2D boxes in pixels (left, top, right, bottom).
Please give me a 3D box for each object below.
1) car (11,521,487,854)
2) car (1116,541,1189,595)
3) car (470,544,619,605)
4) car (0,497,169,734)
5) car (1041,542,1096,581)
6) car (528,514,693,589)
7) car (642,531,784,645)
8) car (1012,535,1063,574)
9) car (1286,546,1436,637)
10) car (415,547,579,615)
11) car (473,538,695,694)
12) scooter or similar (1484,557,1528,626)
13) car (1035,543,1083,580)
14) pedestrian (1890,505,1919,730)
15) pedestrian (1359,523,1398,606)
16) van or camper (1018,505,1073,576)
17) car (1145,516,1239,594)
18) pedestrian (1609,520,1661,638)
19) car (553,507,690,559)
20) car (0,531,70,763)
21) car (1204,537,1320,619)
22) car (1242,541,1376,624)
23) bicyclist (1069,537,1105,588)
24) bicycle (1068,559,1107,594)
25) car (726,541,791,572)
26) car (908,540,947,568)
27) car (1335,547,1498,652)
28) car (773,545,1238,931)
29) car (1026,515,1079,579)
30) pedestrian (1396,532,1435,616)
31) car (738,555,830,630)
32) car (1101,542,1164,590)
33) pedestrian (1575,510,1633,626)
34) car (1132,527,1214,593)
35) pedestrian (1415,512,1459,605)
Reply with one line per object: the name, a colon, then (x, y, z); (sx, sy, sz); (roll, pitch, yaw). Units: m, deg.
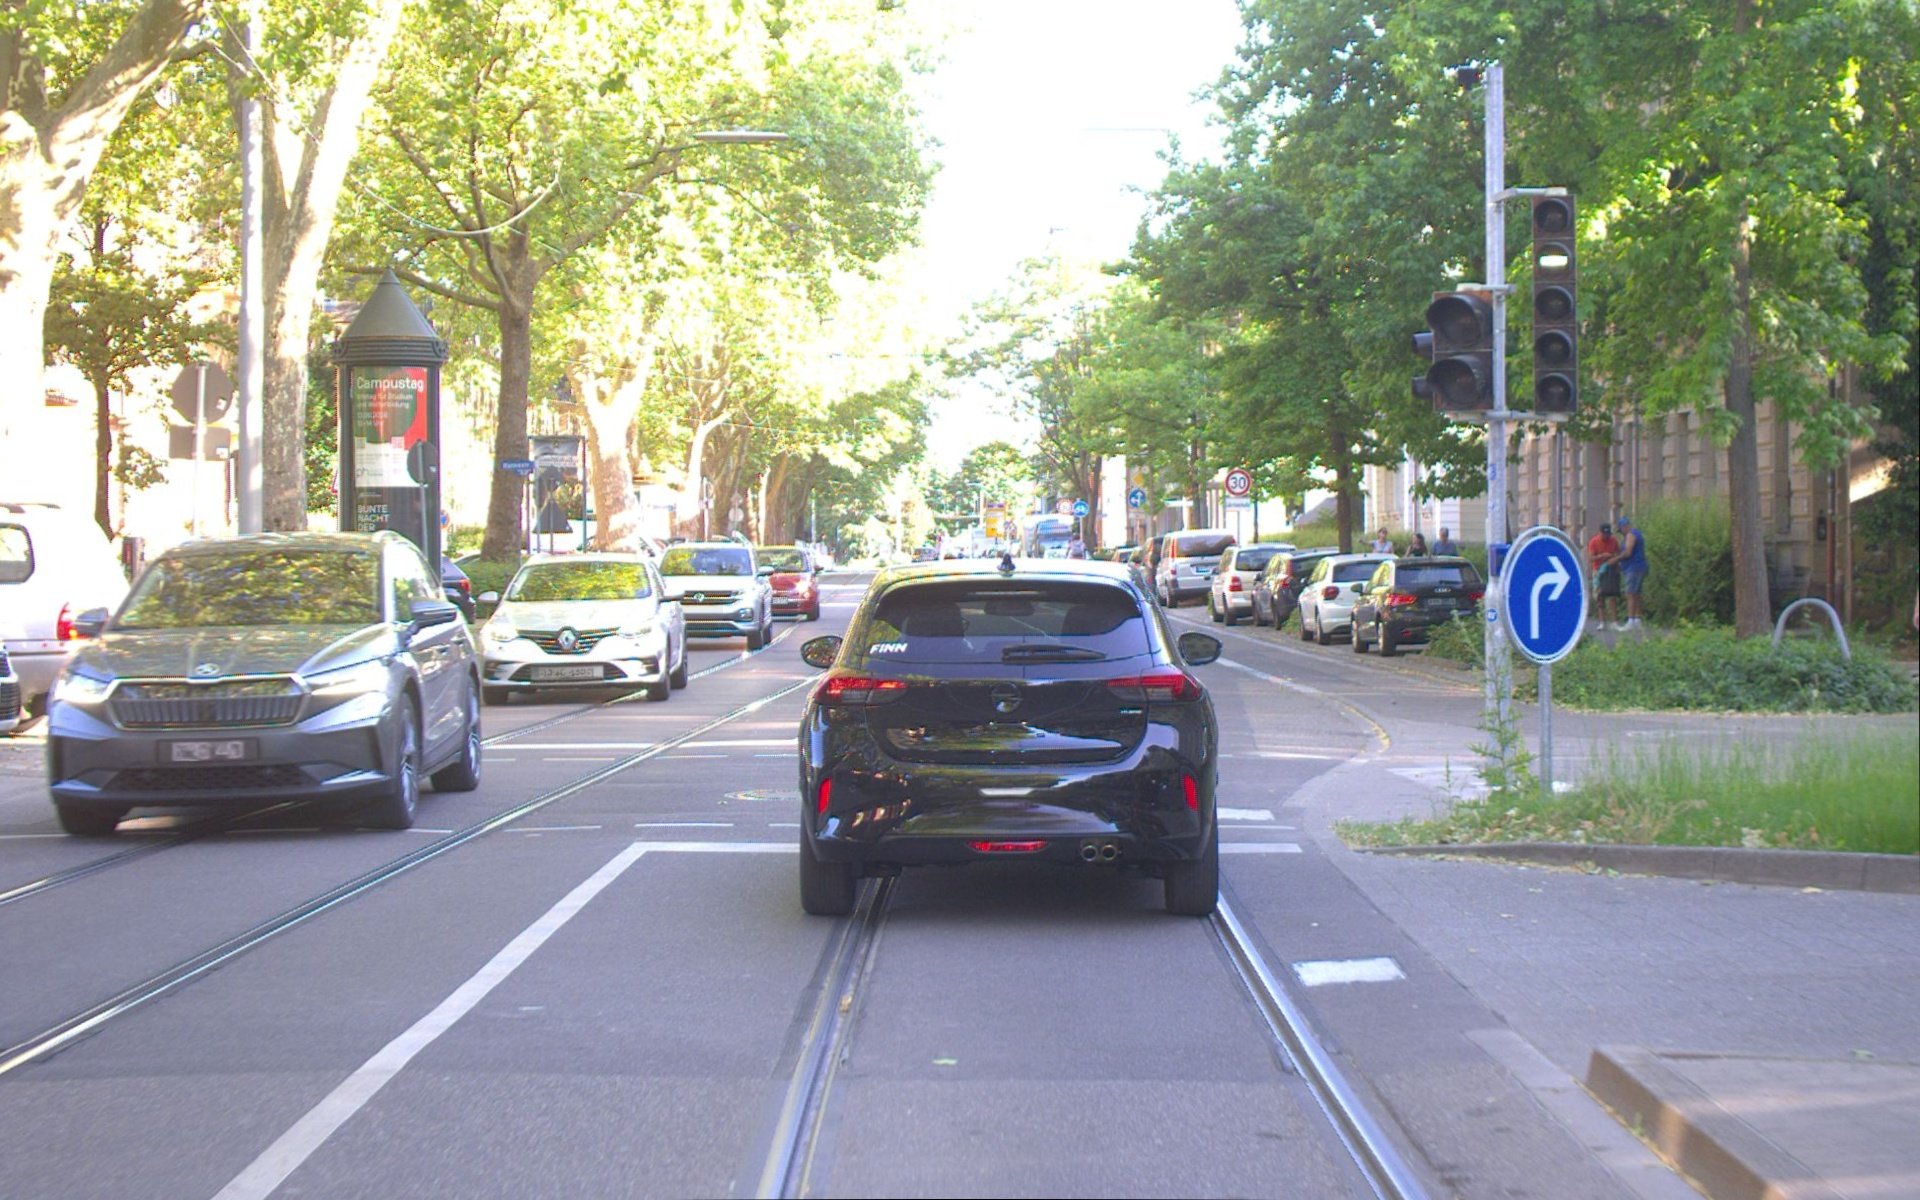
car: (-3.862, 0.413, 19.412); (1.908, 1.632, 4.321); (-1, 1, -2)
car: (5.675, -0.962, 101.823); (1.712, 1.509, 4.037); (-2, 1, -2)
car: (-10.257, -0.638, 84.985); (3.420, 1.460, 1.759); (1, 1, 1)
car: (-8.842, 0.086, 27.586); (4.570, 1.828, 1.939); (1, 1, -2)
car: (4.278, -1.519, 136.391); (1.884, 1.429, 4.530); (-3, 1, -1)
car: (-10.889, -1.509, 107.353); (5.032, 2.251, 2.086); (1, 1, -4)
car: (-3.620, -0.195, 50.903); (1.815, 1.563, 4.116); (-1, 1, -1)
car: (3.754, -2.224, 167.649); (2.254, 1.834, 5.531); (-1, 1, -1)
car: (6.599, -0.161, 56.993); (1.884, 1.363, 4.107); (-3, 1, -1)
car: (-10.413, -0.430, 77.497); (3.420, 1.460, 1.697); (1, 1, 1)
car: (-3.708, 0.124, 34.565); (1.775, 1.456, 4.204); (1, 1, 0)
scooter or similar: (10.044, -0.164, 63.284); (0.576, 1.242, 1.335); (1, 1, 0)
car: (4.212, -1.632, 146.689); (1.803, 1.429, 4.000); (-1, 0, -1)
pedestrian: (7.938, 0.118, 27.723); (0.726, 1.787, 0.853); (-2, 1, 10)
pedestrian: (8.613, -0.728, 70.790); (0.726, 1.687, 0.957); (1, 1, 4)
van or camper: (3.981, -2.744, 160.444); (2.254, 3.205, 5.531); (-1, 1, -1)
car: (5.818, -1.131, 86.759); (1.884, 1.845, 4.968); (-3, 1, -1)
pedestrian: (10.395, -0.327, 52.975); (0.598, 1.787, 0.728); (1, 1, -3)
car: (-10.849, -2.143, 110.453); (4.299, 1.601, 1.926); (0, 1, -3)
car: (-8.829, 0.296, 25.187); (4.139, 1.641, 1.902); (1, 1, -2)
car: (6.208, -0.471, 71.102); (1.884, 1.562, 4.242); (-3, 1, -1)
car: (6.695, -0.358, 66.365); (1.884, 1.462, 4.594); (-3, 1, -2)
bicyclist: (3.784, -1.124, 102.254); (0.958, 1.494, 1.094); (1, 1, -2)
bicycle: (3.784, -0.705, 102.282); (0.968, 0.995, 2.583); (1, 1, -2)
car: (-13.403, -2.910, 228.691); (3.988, 2.007, 2.000); (1, 1, 6)
car: (-2.183, -3.073, 230.787); (2.254, 1.834, 5.532); (-1, 1, -4)
car: (6.642, -0.033, 50.363); (1.672, 1.407, 3.843); (-3, 1, -2)
car: (0.144, 0.504, 15.144); (1.763, 1.455, 3.950); (1, 1, -1)
car: (4.128, -2.385, 153.884); (2.085, 2.762, 4.698); (-1, 1, -1)
pedestrian: (9.390, -0.532, 70.885); (0.726, 1.703, 0.856); (1, 1, 3)
car: (-3.497, -0.165, 68.891); (1.660, 1.439, 3.473); (1, 1, 0)
car: (5.534, -1.108, 110.609); (1.702, 1.418, 3.979); (-3, 1, -1)
pedestrian: (10.072, -0.504, 53.743); (0.600, 1.787, 0.727); (1, 1, 38)
car: (5.910, -1.111, 95.718); (1.885, 1.760, 4.678); (-1, 1, -1)
pedestrian: (9.221, -0.800, 66.451); (0.726, 1.787, 0.600); (1, 1, -3)
